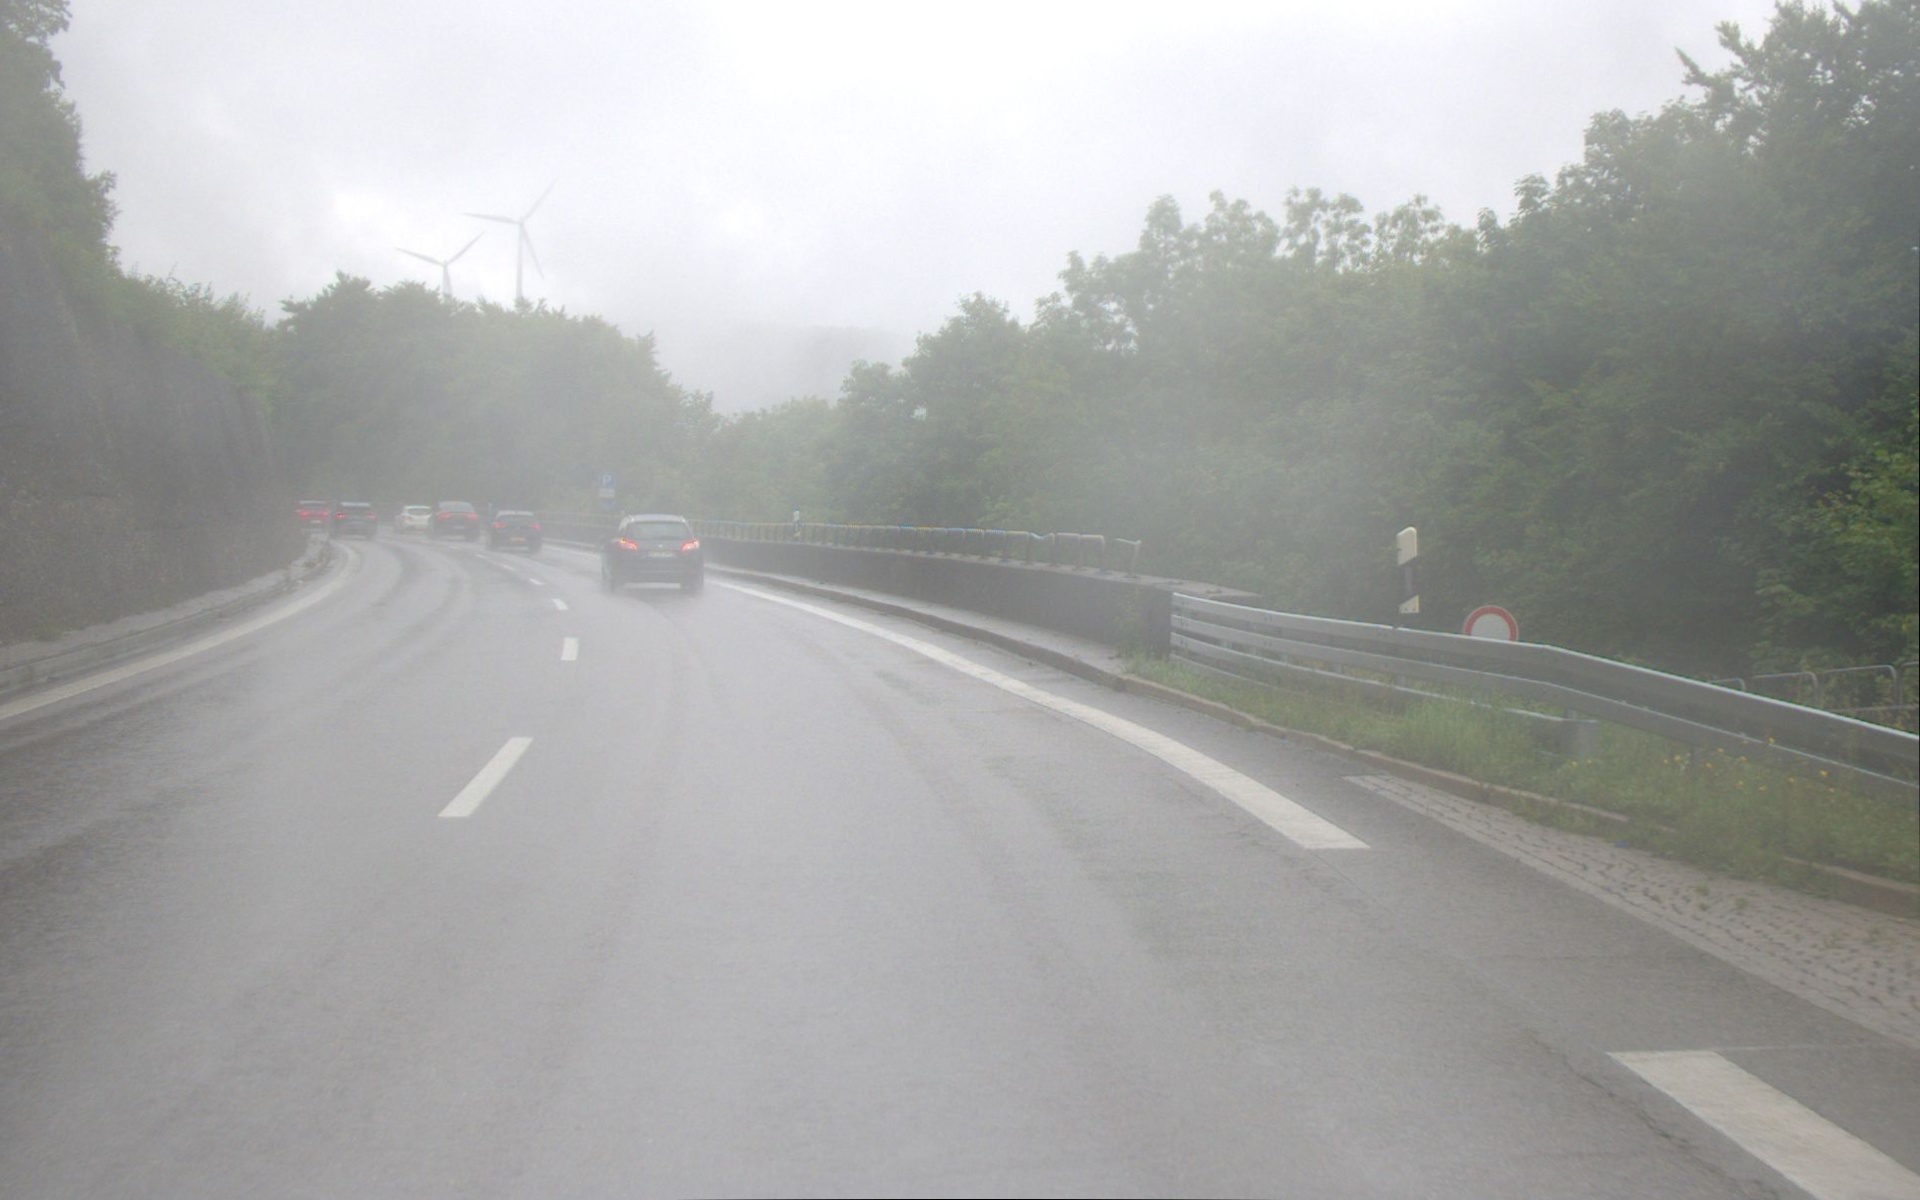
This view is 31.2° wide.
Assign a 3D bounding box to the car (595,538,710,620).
[{"bbox_3d":[-6.022,-0.435,66.985,1.903,1.494,4.001,1,1,-10],"label":"car"}]

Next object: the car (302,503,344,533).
[{"bbox_3d":[-32.576,-4.199,175.701,1.903,1.494,4.001,1,1,-13],"label":"car"}]

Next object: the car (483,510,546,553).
[{"bbox_3d":[-15.994,-2.468,123.233,1.903,1.494,4.001,1,1,-12],"label":"car"}]

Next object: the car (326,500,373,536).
[{"bbox_3d":[-26.497,-3.558,149.175,1.903,1.494,4.001,1,1,-11],"label":"car"}]

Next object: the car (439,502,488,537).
[{"bbox_3d":[-21.980,-3.582,152.130,1.903,1.494,4.001,1,1,-11],"label":"car"}]

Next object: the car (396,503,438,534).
[{"bbox_3d":[-27.168,-4.088,171.920,1.903,1.494,4.001,1,1,-11],"label":"car"}]
